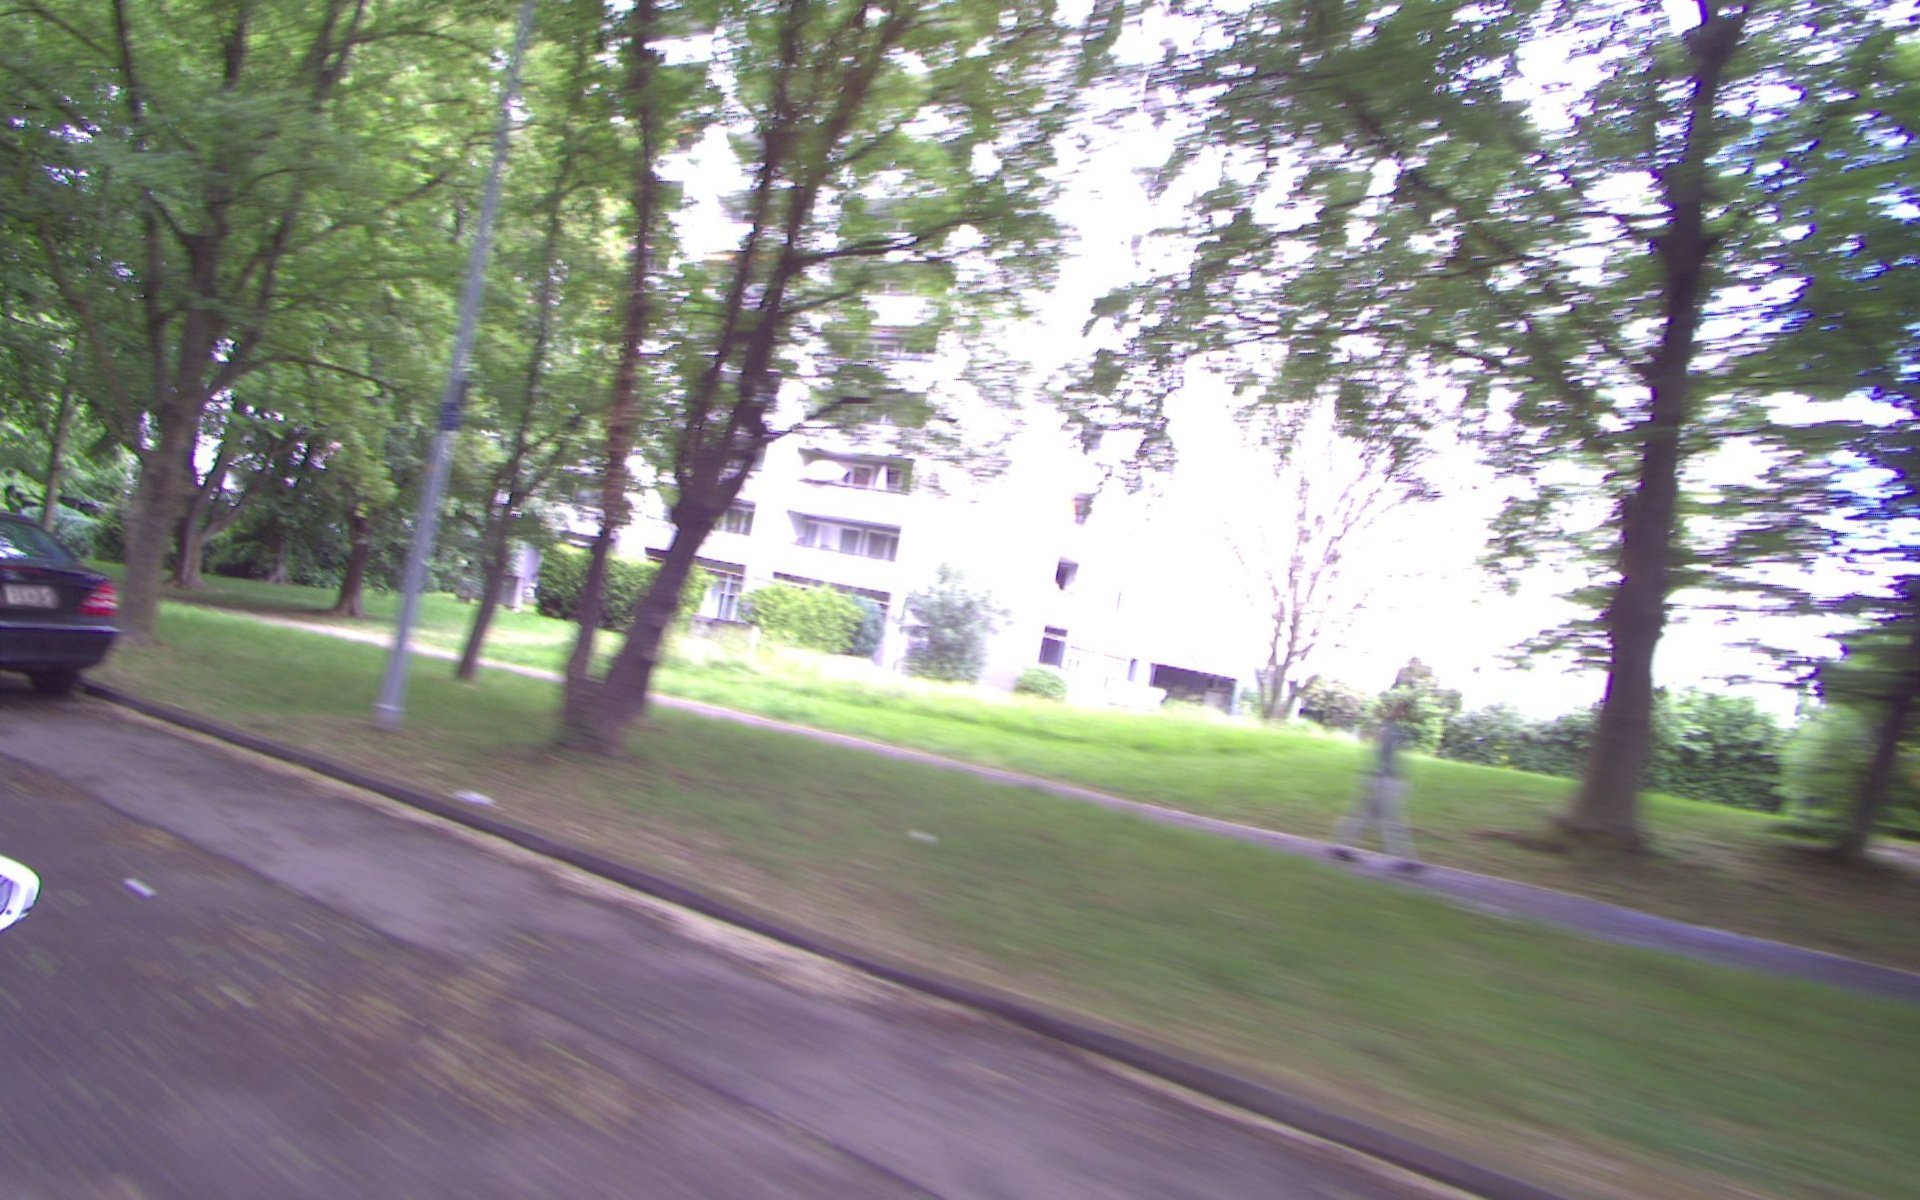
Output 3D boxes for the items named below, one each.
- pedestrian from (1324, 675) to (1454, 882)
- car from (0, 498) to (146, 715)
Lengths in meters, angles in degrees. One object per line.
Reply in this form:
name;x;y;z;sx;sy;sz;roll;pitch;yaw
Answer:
pedestrian;3.891;1.590;9.167;0.857;1.670;0.583;8;-2;23
car;-8.549;-0.210;7.844;4.239;1.482;1.595;8;-2;25
